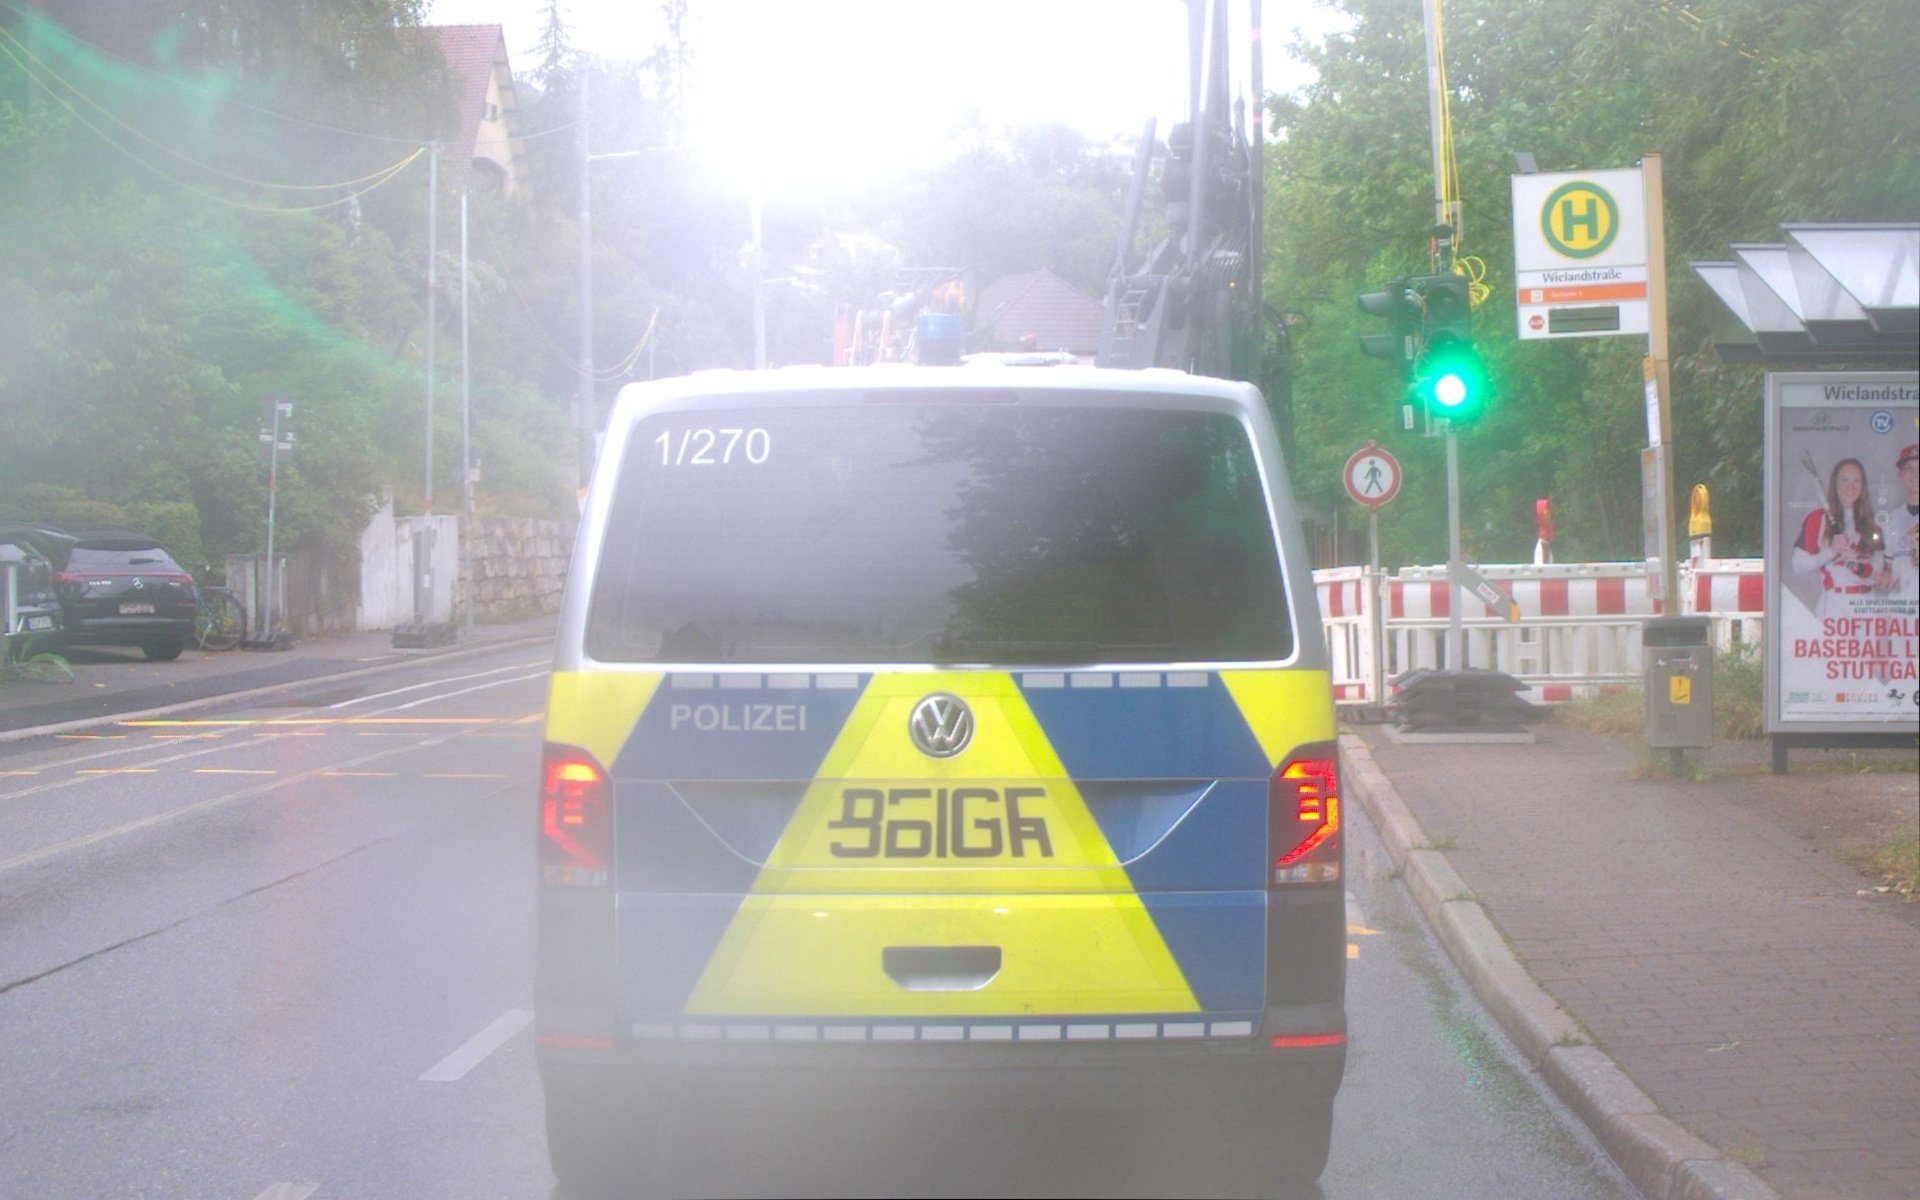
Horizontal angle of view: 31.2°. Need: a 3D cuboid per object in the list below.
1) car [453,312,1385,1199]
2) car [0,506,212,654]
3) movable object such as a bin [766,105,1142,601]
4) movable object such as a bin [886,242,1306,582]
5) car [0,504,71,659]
[{"bbox_3d":[-0.112,0.404,9.343,1.908,2.003,4.440,1,0,-1],"label":"car"},{"bbox_3d":[-9.919,-0.242,37.544,1.781,1.520,3.999,1,1,-39],"label":"car"},{"bbox_3d":[0.061,-2.163,31.510,2.879,4.156,4.486,-1,2,6],"label":"movable object such as a bin"},{"bbox_3d":[2.330,-2.883,55.714,3.689,5.049,7.150,-1,0,32],"label":"movable object such as a bin"},{"bbox_3d":[-11.254,-0.208,34.621,3.989,1.520,1.940,1,0,13],"label":"car"}]
